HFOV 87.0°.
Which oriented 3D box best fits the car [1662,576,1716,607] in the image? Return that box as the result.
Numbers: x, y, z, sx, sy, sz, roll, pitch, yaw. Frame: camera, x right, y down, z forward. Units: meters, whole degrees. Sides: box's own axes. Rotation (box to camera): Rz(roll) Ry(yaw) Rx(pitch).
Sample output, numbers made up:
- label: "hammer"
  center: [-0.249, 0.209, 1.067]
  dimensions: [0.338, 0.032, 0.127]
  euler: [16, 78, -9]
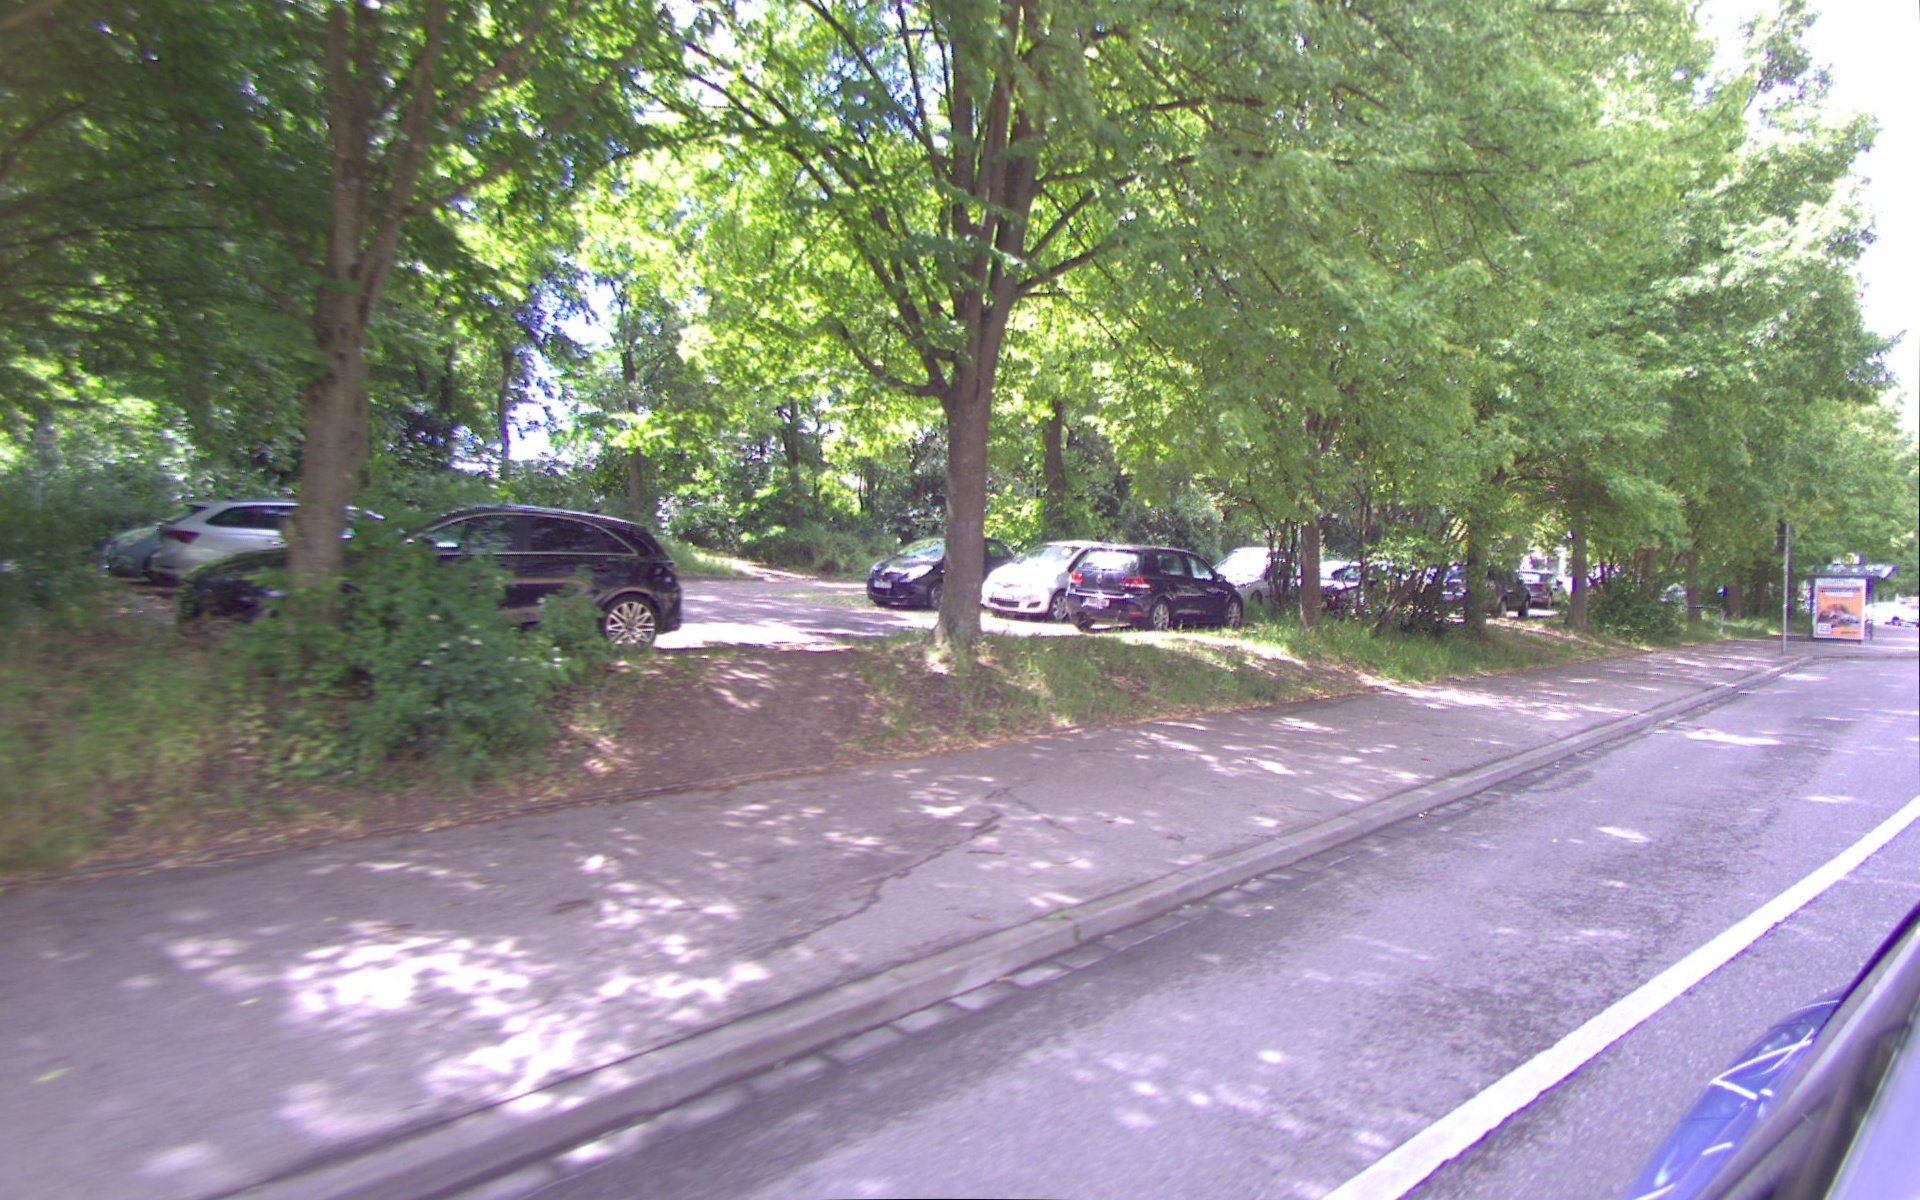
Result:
- label: "car"
  center: [39.340, -0.445, 54.581]
  dimensions: [1.628, 1.532, 4.071]
  euler: [7, 4, 45]

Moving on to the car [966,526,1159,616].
- label: "car"
  center: [2.089, -0.560, 19.864]
  dimensions: [1.636, 1.586, 3.925]
  euler: [4, 3, 44]

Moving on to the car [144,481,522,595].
- label: "car"
  center: [-9.748, -0.913, 15.985]
  dimensions: [4.796, 1.526, 1.998]
  euler: [0, 4, -42]

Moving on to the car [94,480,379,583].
- label: "car"
  center: [-12.331, -1.128, 17.382]
  dimensions: [3.828, 1.526, 1.654]
  euler: [0, 4, -42]

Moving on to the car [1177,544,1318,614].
- label: "car"
  center: [7.084, -0.506, 24.800]
  dimensions: [3.562, 1.526, 1.695]
  euler: [0, 4, -44]

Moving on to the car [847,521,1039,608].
- label: "car"
  center: [-0.277, -0.714, 20.927]
  dimensions: [1.610, 1.585, 3.925]
  euler: [7, 5, 44]

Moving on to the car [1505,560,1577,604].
- label: "car"
  center: [25.510, -0.828, 44.351]
  dimensions: [1.689, 1.714, 4.195]
  euler: [6, 6, 43]

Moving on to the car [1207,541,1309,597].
- label: "car"
  center: [10.710, -1.091, 36.184]
  dimensions: [4.139, 1.811, 1.615]
  euler: [0, 4, -45]

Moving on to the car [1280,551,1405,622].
- label: "car"
  center: [8.801, -0.301, 23.141]
  dimensions: [1.606, 1.430, 3.766]
  euler: [4, 2, 38]

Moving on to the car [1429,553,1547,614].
- label: "car"
  center: [15.952, -0.474, 30.457]
  dimensions: [4.647, 1.683, 1.848]
  euler: [0, 1, -45]

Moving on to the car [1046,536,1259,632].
- label: "car"
  center: [3.485, -0.298, 17.906]
  dimensions: [1.798, 1.482, 3.925]
  euler: [4, 3, 44]

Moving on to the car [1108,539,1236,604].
- label: "car"
  center: [5.927, -0.777, 28.072]
  dimensions: [3.562, 1.633, 1.695]
  euler: [0, 4, -44]

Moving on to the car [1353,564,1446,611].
- label: "car"
  center: [16.618, -0.456, 38.170]
  dimensions: [4.356, 1.574, 1.472]
  euler: [1, 4, -43]

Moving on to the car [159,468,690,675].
- label: "car"
  center: [-4.827, -0.277, 9.505]
  dimensions: [4.091, 1.526, 1.717]
  euler: [0, 4, -44]
